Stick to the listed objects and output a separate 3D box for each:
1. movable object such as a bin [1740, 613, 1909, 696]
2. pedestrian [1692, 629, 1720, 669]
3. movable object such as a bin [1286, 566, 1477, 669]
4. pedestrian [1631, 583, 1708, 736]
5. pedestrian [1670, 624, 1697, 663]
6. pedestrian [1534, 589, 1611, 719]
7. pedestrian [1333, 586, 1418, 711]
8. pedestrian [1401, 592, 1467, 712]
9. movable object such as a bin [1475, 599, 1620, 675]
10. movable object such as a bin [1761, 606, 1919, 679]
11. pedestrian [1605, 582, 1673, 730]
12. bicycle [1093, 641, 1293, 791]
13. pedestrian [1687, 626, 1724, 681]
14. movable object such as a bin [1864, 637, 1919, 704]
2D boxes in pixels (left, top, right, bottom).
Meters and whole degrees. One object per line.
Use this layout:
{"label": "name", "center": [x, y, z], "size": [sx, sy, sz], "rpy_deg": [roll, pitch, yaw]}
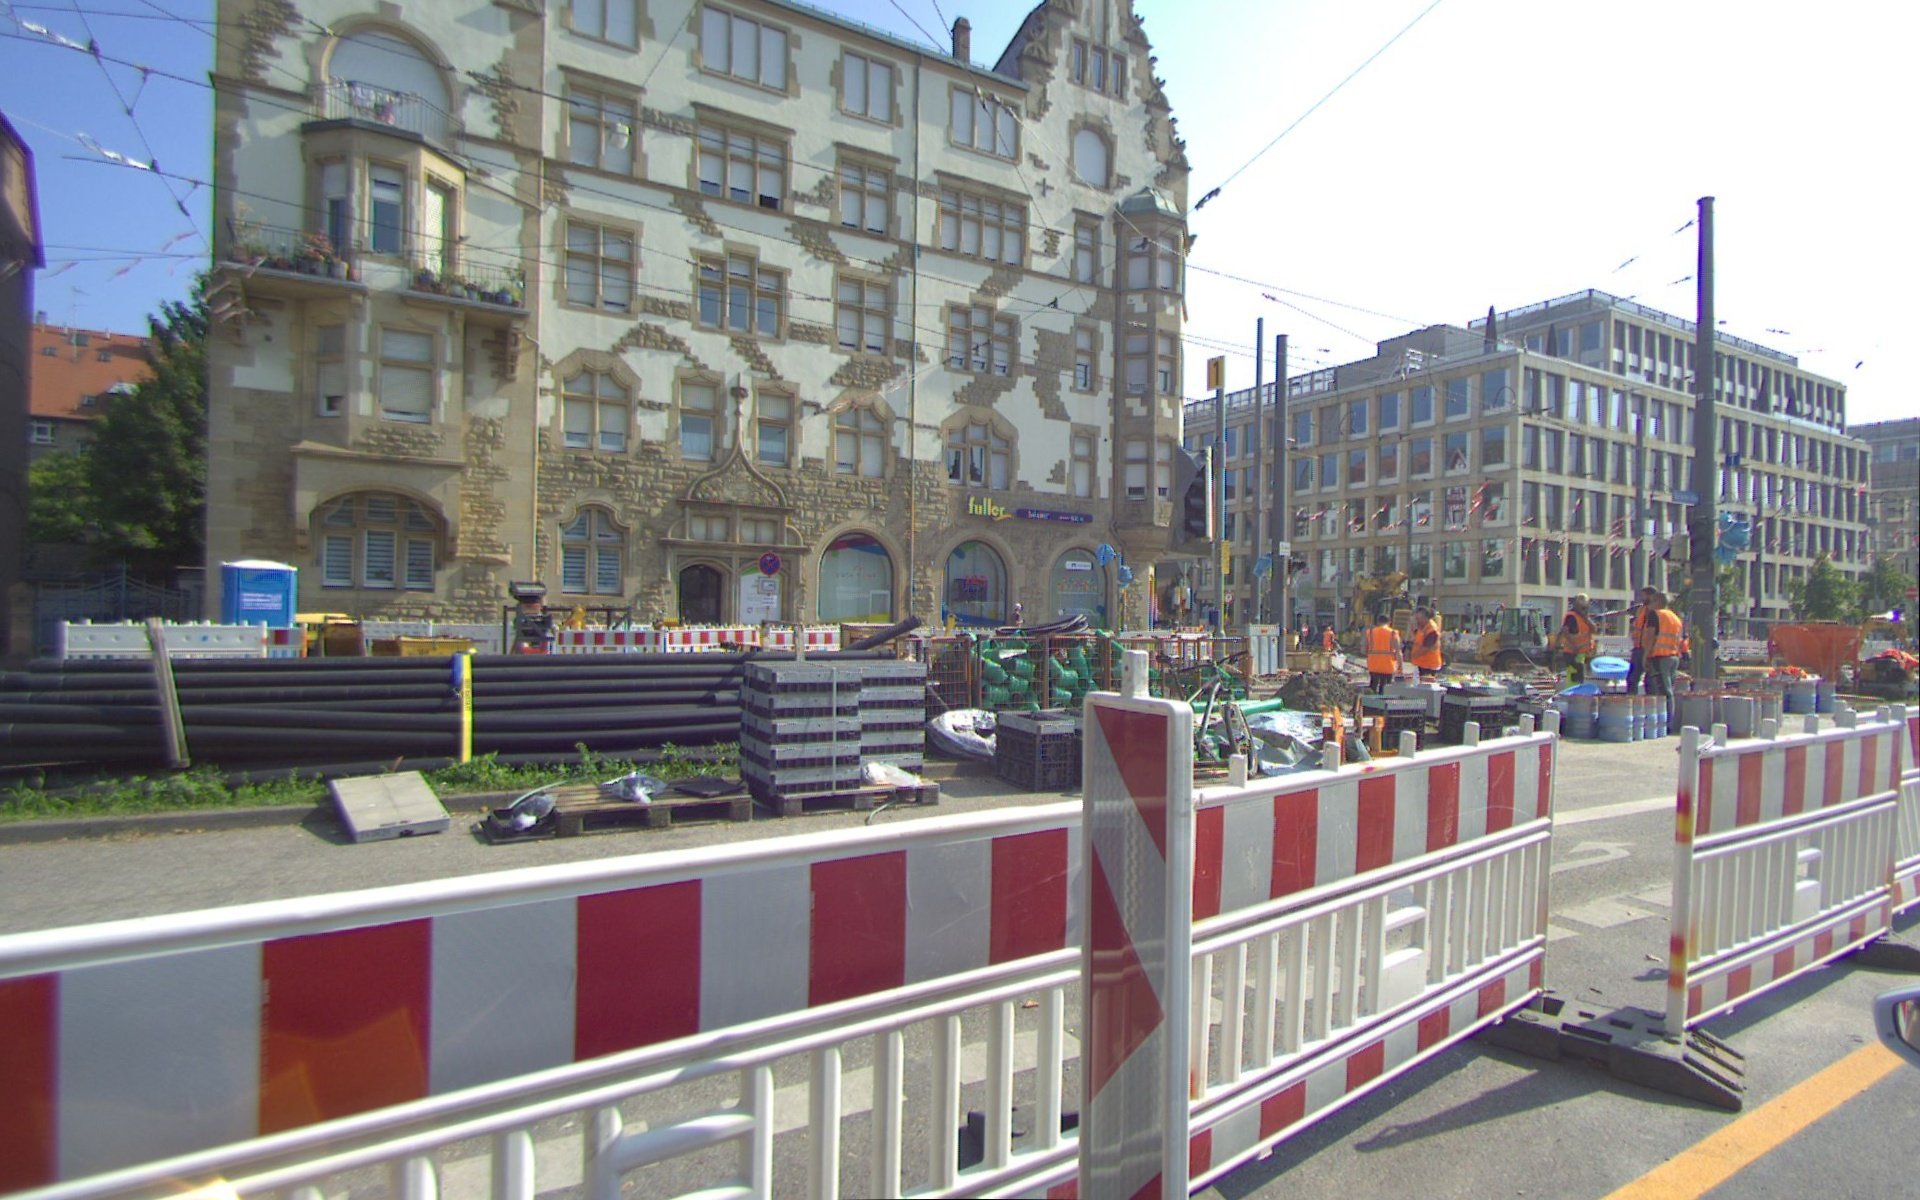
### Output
{"label": "movable object such as a bin", "center": [17.625, 1.089, 20.471], "size": [3.246, 1.579, 1.593], "rpy_deg": [2, -2, -29]}
{"label": "pedestrian", "center": [35.819, 2.350, 48.218], "size": [0.804, 1.889, 0.915], "rpy_deg": [2, -1, -40]}
{"label": "movable object such as a bin", "center": [20.041, 0.893, 48.391], "size": [4.889, 4.404, 7.356], "rpy_deg": [3, -2, -17]}
{"label": "pedestrian", "center": [9.384, 0.771, 13.314], "size": [0.700, 1.952, 0.685], "rpy_deg": [0, -2, 23]}
{"label": "pedestrian", "center": [36.039, 2.174, 50.055], "size": [0.796, 1.889, 0.754], "rpy_deg": [1, -1, -11]}
{"label": "pedestrian", "center": [9.243, 0.804, 15.165], "size": [0.698, 1.895, 0.718], "rpy_deg": [1, -2, -21]}
{"label": "pedestrian", "center": [6.289, 0.734, 15.239], "size": [0.870, 1.840, 0.828], "rpy_deg": [1, -2, -15]}
{"label": "pedestrian", "center": [7.498, 0.808, 15.927], "size": [0.813, 1.833, 0.755], "rpy_deg": [0, -2, 15]}
{"label": "movable object such as a bin", "center": [23.371, 1.441, 40.212], "size": [4.724, 2.872, 2.449], "rpy_deg": [0, -2, 23]}
{"label": "movable object such as a bin", "center": [41.234, 2.000, 46.610], "size": [8.379, 2.997, 3.596], "rpy_deg": [3, -1, -31]}
{"label": "pedestrian", "center": [9.612, 0.778, 14.244], "size": [0.683, 2.042, 0.674], "rpy_deg": [0, -2, 23]}
{"label": "bicycle", "center": [2.011, 0.935, 8.496], "size": [1.952, 1.113, 0.557], "rpy_deg": [3, -1, -40]}
{"label": "pedestrian", "center": [26.245, 1.877, 35.382], "size": [0.712, 1.938, 0.785], "rpy_deg": [2, -1, -21]}
{"label": "movable object such as a bin", "center": [18.577, 1.345, 19.490], "size": [2.185, 1.227, 0.883], "rpy_deg": [2, -1, -29]}
